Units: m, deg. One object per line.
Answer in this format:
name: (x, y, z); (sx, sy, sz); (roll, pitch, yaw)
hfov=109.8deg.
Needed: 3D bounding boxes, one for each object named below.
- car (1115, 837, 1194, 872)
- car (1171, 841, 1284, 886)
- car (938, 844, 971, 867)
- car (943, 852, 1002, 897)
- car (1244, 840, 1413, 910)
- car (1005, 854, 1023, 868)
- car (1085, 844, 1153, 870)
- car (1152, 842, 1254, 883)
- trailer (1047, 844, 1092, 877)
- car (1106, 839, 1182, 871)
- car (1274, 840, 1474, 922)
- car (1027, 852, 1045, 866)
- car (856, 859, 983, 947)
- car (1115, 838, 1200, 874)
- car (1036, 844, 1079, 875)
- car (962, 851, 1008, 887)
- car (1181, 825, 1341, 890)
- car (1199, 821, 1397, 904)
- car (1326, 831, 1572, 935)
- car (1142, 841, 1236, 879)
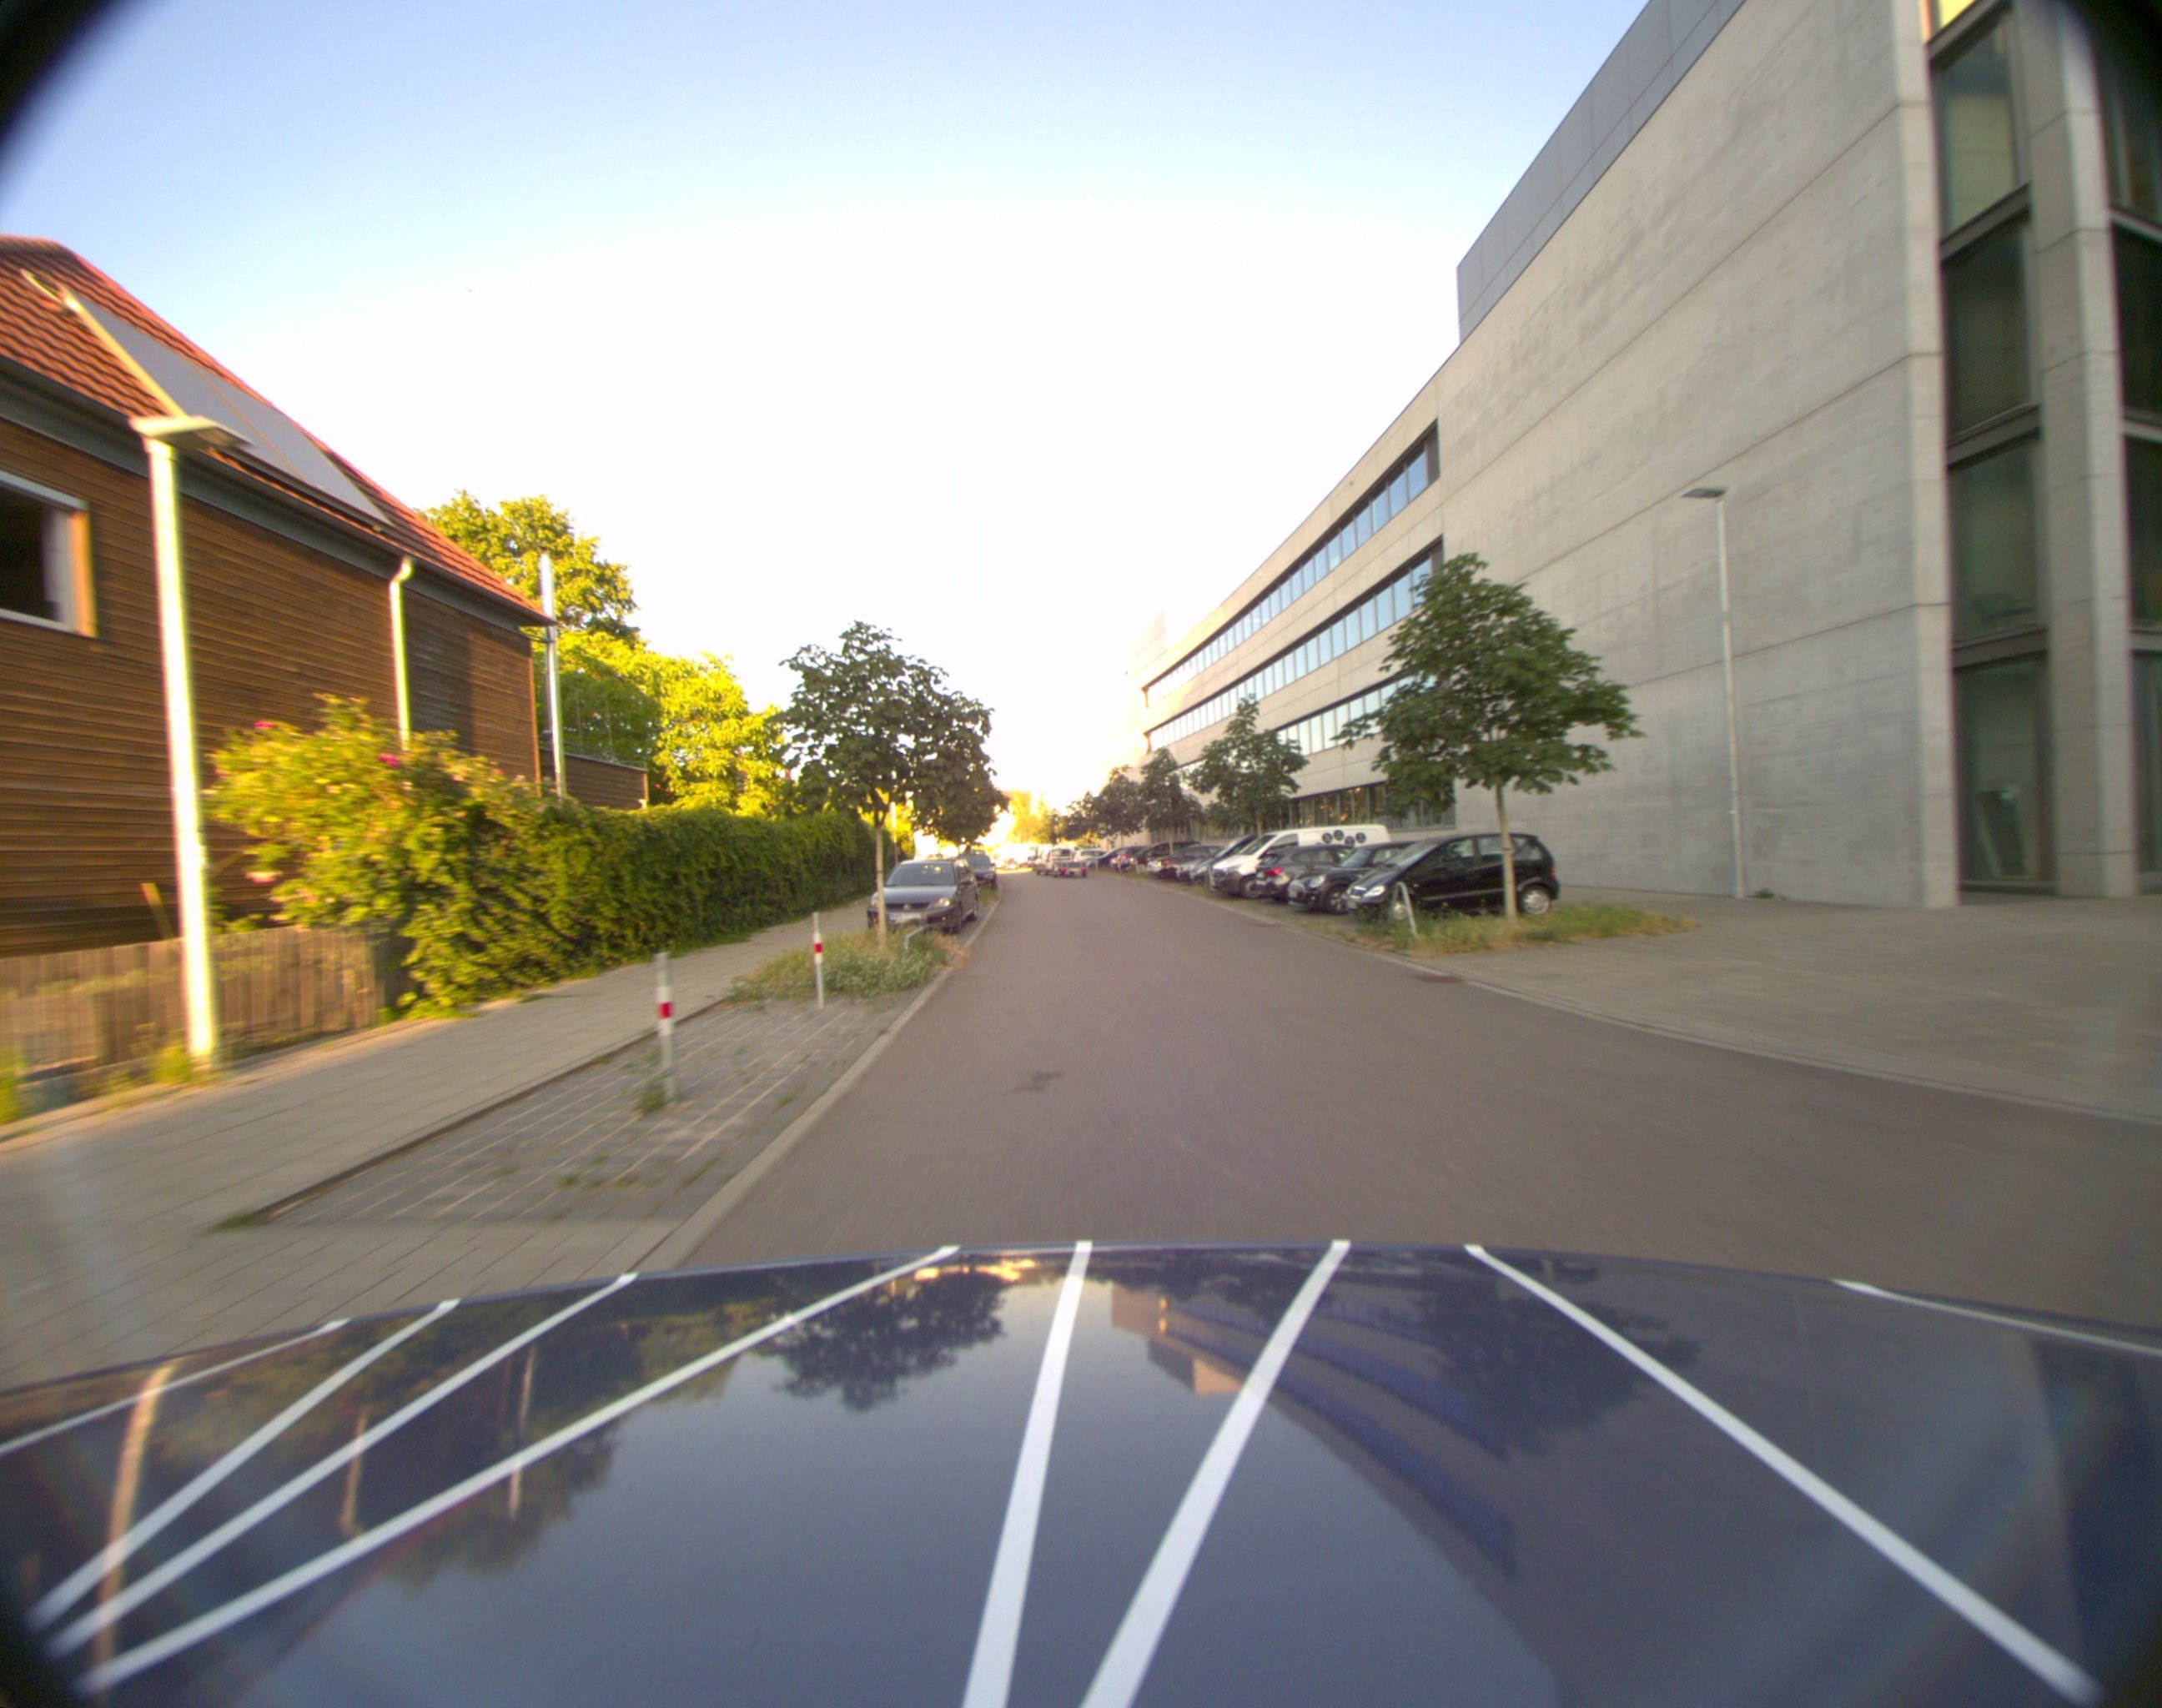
car: (4.104, 0.030, 42.766); (4.028, 1.574, 1.798); (-5, 1, -10)
car: (5.547, 0.351, 29.080); (3.812, 1.353, 1.798); (-5, 1, -5)
car: (-8.761, 0.085, 53.002); (1.771, 1.454, 4.366); (-2, 0, -4)
car: (-3.901, 0.679, 27.850); (1.771, 1.454, 4.366); (-2, 0, -4)
car: (6.217, 0.509, 19.367); (3.655, 1.416, 1.725); (-5, 1, -1)
car: (-7.398, 0.798, 83.960); (1.799, 1.340, 4.026); (-5, 1, -5)
car: (2.480, 0.194, 49.858); (4.028, 1.340, 1.798); (-5, 1, -10)
car: (5.060, 0.334, 31.853); (3.812, 1.353, 1.798); (-5, 1, -5)
trailer: (-0.655, 0.324, 40.095); (1.700, 1.611, 3.761); (-2, 0, -10)
car: (3.721, 0.058, 44.981); (4.028, 1.574, 1.798); (-5, 1, -10)
car: (6.337, 0.562, 16.724); (3.655, 1.416, 1.725); (-5, 1, 1)
car: (-5.074, 0.556, 84.917); (1.799, 1.442, 4.026); (-5, 1, -5)
car: (-3.139, 0.881, 15.624); (1.681, 1.454, 4.367); (-2, 0, -1)
car: (3.981, 0.097, 39.923); (4.028, 1.574, 1.798); (-5, 1, -10)
car: (-1.424, 0.311, 44.303); (1.765, 1.611, 4.775); (-2, 0, -10)
car: (-4.251, 0.617, 34.162); (1.771, 1.454, 4.366); (-2, 0, -4)
car: (6.338, 0.110, 27.023); (5.083, 1.817, 1.888); (-5, 1, -5)
car: (6.205, 0.223, 22.042); (5.083, 1.870, 1.888); (-5, 1, -5)
car: (6.713, 0.497, 14.140); (3.655, 1.538, 1.725); (-5, 1, 1)
car: (4.849, 0.270, 34.309); (3.812, 1.353, 1.798); (-5, 1, -5)
